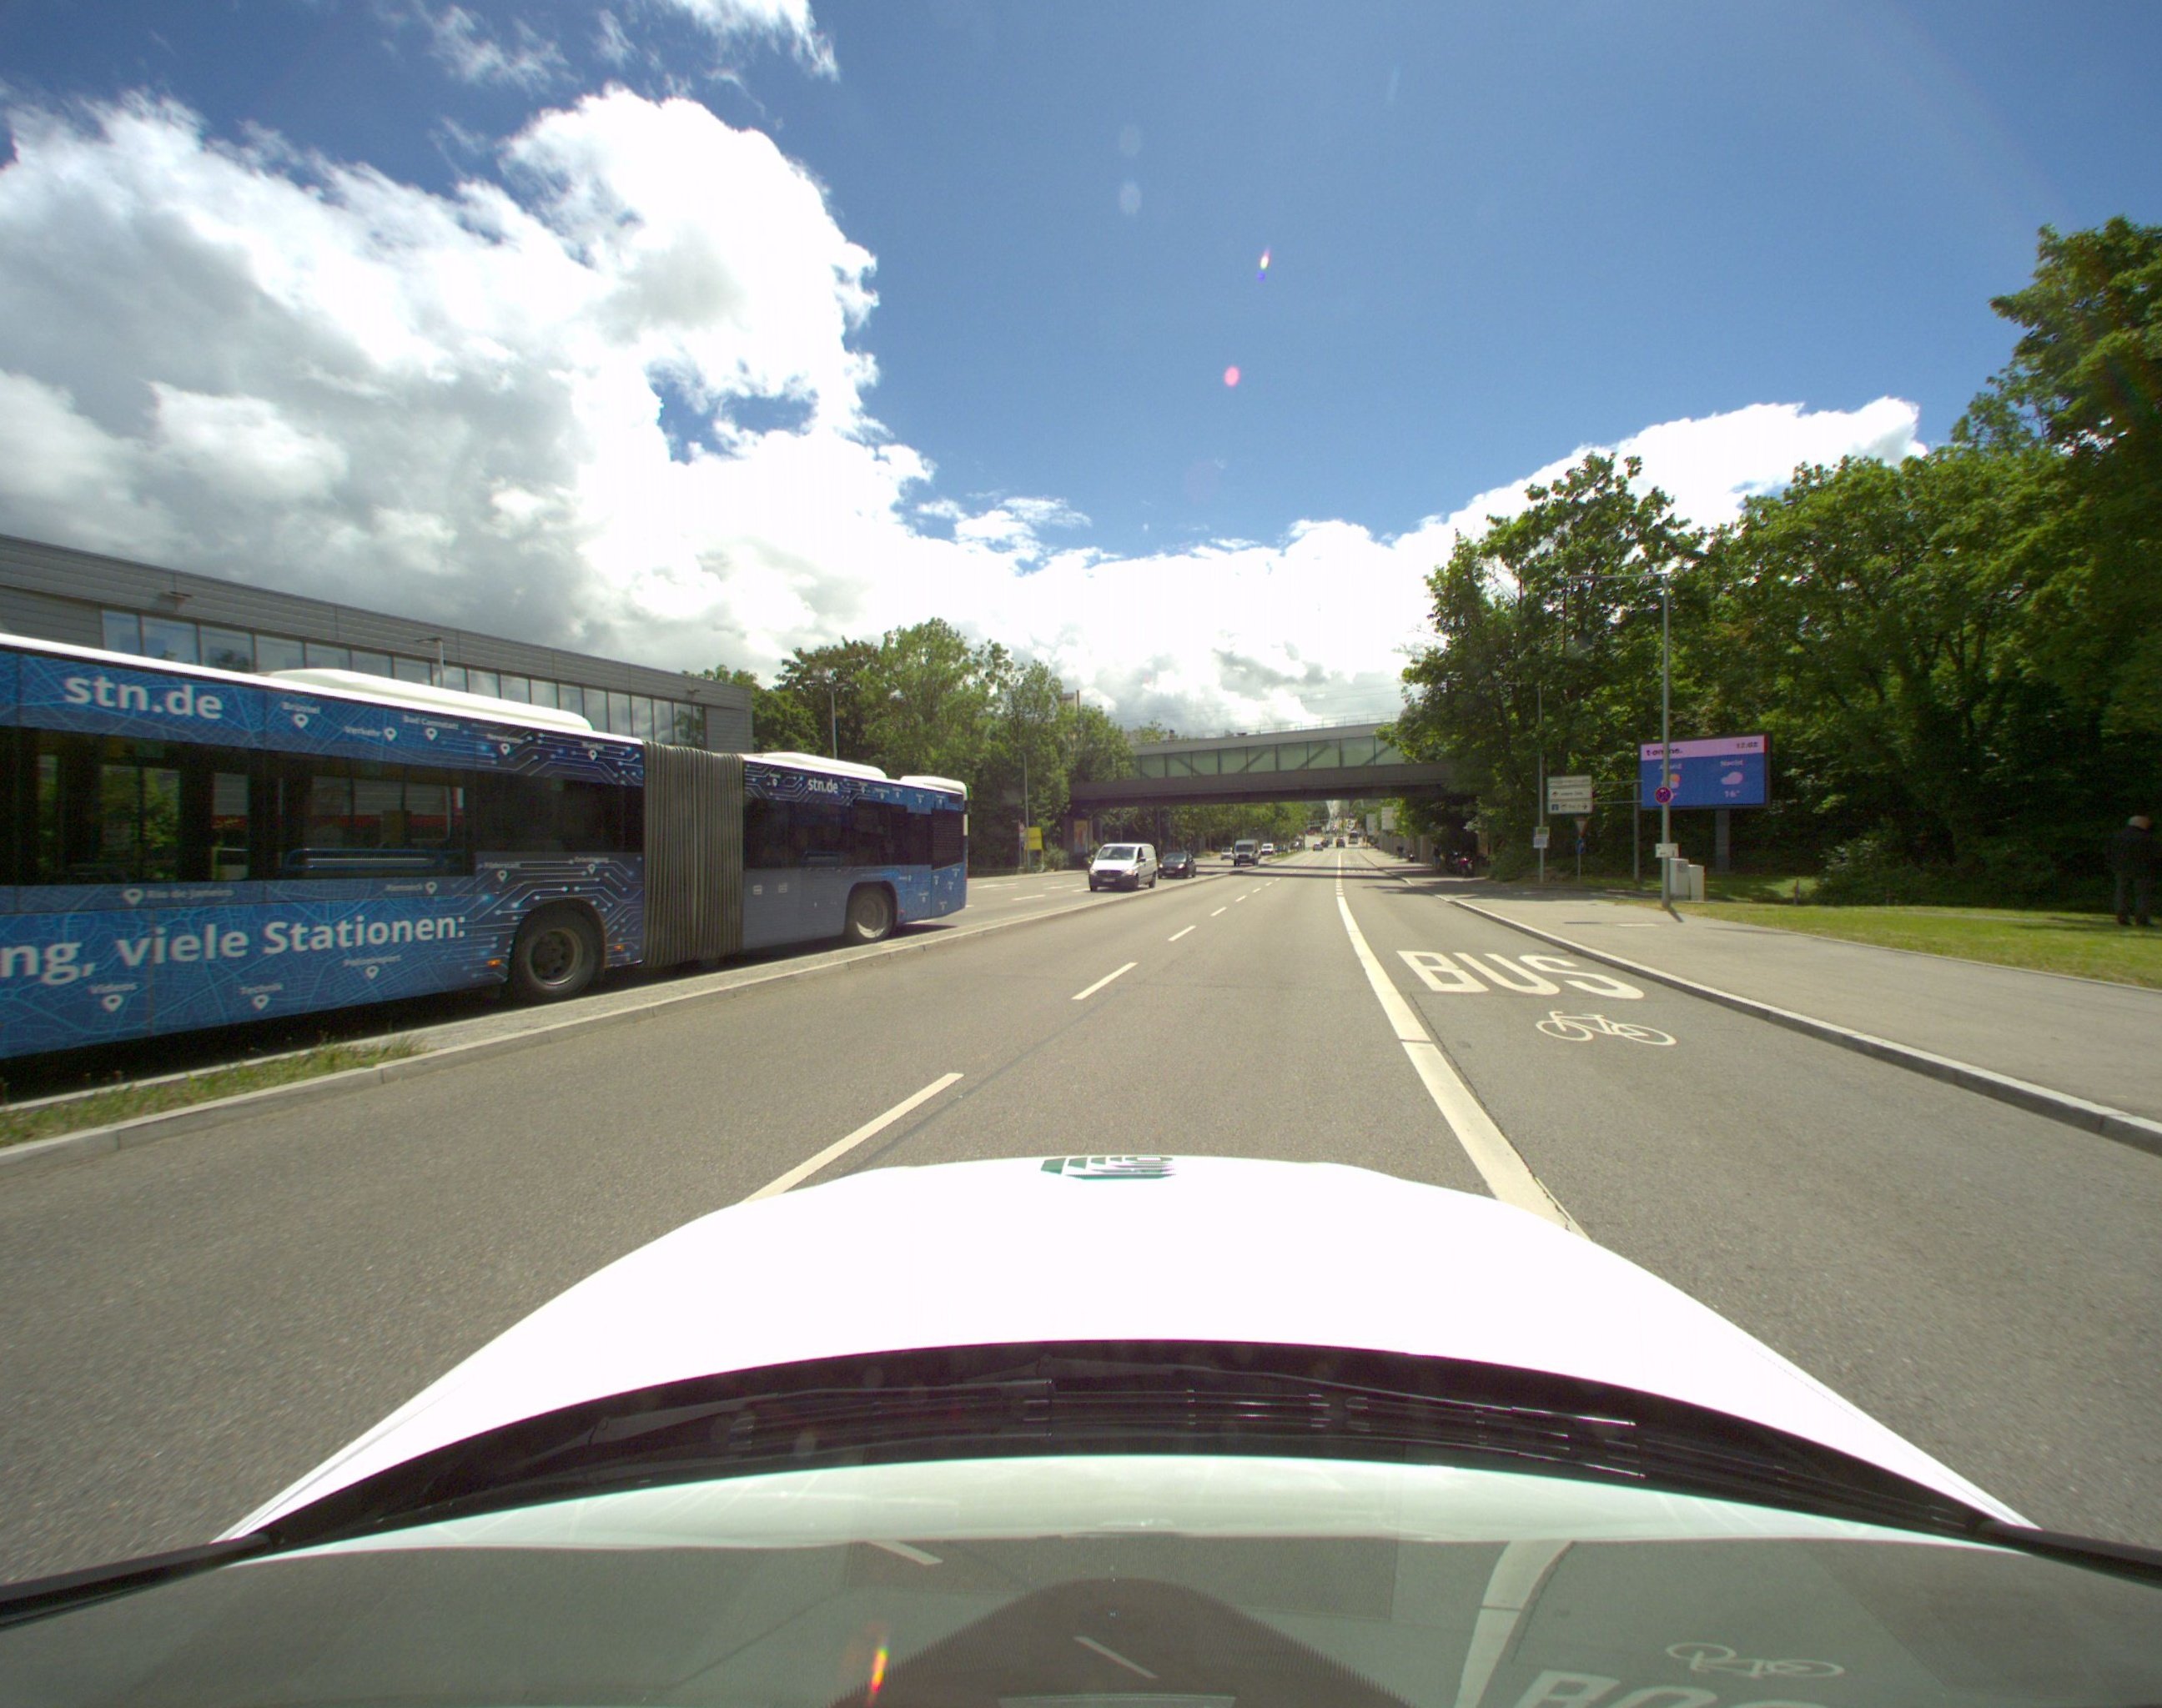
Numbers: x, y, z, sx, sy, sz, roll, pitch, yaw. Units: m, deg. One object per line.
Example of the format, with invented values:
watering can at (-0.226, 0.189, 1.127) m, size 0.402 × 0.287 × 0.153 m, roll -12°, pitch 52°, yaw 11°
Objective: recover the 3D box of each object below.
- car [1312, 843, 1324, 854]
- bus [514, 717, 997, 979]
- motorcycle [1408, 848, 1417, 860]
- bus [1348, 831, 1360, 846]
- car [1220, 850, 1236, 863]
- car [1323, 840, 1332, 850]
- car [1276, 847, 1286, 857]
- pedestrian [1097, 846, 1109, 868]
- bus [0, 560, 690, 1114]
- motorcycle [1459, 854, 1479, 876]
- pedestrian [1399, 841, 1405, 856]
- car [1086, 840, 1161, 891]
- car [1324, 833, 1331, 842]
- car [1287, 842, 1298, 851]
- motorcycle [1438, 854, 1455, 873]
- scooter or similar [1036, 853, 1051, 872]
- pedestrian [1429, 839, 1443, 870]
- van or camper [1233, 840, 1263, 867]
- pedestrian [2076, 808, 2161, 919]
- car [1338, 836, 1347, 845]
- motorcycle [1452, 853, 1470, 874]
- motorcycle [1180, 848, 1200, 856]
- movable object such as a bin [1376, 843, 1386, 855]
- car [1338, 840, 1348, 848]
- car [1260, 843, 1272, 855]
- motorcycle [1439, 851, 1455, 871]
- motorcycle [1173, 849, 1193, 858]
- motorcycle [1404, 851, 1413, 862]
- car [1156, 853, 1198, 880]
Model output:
car at (45.019, -1.093, 154.722) m, size 1.914 × 1.771 × 4.020 m, roll -1°, pitch 4°, yaw 18°
bus at (-4.660, -0.138, 14.487) m, size 2.793 × 3.163 × 8.950 m, roll 0°, pitch 1°, yaw 19°
motorcycle at (31.618, 0.010, 77.672) m, size 0.559 × 1.029 × 2.641 m, roll -2°, pitch 1°, yaw 17°
bus at (76.553, -4.341, 228.318) m, size 2.775 × 3.751 × 9.515 m, roll -1°, pitch 4°, yaw 17°
car at (18.416, 0.257, 101.909) m, size 1.688 × 1.551 × 3.940 m, roll 0°, pitch 0°, yaw 14°
car at (55.914, -2.071, 185.008) m, size 1.843 × 1.705 × 4.020 m, roll -1°, pitch 6°, yaw 16°
car at (36.445, -0.361, 148.393) m, size 1.688 × 1.698 × 3.941 m, roll 0°, pitch 0°, yaw 16°
pedestrian at (1.708, 0.203, 63.427) m, size 0.719 × 1.622 × 0.724 m, roll 4°, pitch 4°, yaw 16°
bus at (-7.674, -0.104, 5.430) m, size 2.793 × 3.285 × 10.168 m, roll 0°, pitch 0°, yaw 19°
motorcycle at (20.077, 0.552, 42.179) m, size 0.543 × 1.110 × 2.026 m, roll -1°, pitch 0°, yaw 15°
pedestrian at (36.421, -0.595, 92.411) m, size 0.616 × 1.618 × 0.750 m, roll -1°, pitch 4°, yaw 16°
car at (1.828, 0.400, 33.438) m, size 1.862 × 1.924 × 4.773 m, roll 0°, pitch 1°, yaw 18°
car at (67.176, -4.474, 222.087) m, size 1.859 × 2.013 × 3.711 m, roll -1°, pitch 4°, yaw 17°
car at (45.613, -1.669, 175.755) m, size 1.978 × 2.013 × 4.019 m, roll -1°, pitch 0°, yaw 18°
motorcycle at (21.312, 0.534, 47.464) m, size 0.543 × 1.110 × 2.026 m, roll -1°, pitch 0°, yaw 15°
scooter or similar at (-2.523, 0.575, 54.532) m, size 0.607 × 1.211 × 1.267 m, roll -1°, pitch 0°, yaw 17°
pedestrian at (21.873, 0.039, 50.186) m, size 0.618 × 1.858 × 0.876 m, roll -1°, pitch -1°, yaw 16°
van or camper at (15.902, -0.055, 77.477) m, size 1.992 × 2.401 × 6.429 m, roll -1°, pitch 0°, yaw 19°
pedestrian at (16.816, 0.129, 13.127) m, size 0.588 × 1.717 × 0.772 m, roll -3°, pitch 3°, yaw -10°
car at (66.021, -3.521, 205.792) m, size 1.977 × 2.013 × 4.022 m, roll 0°, pitch 4°, yaw 20°
motorcycle at (20.802, 0.522, 44.610) m, size 0.543 × 1.110 × 2.026 m, roll -1°, pitch 0°, yaw 15°
motorcycle at (14.894, -0.325, 111.188) m, size 2.553 × 1.107 × 0.799 m, roll 0°, pitch 0°, yaw 29°
movable object such as a bin at (54.651, -0.965, 148.345) m, size 1.650 × 2.132 × 1.285 m, roll 0°, pitch 0°, yaw 23°
car at (59.151, -2.314, 183.881) m, size 1.978 × 1.859 × 4.018 m, roll -1°, pitch 0°, yaw 17°
car at (27.752, -0.750, 122.295) m, size 1.688 × 1.698 × 3.940 m, roll 0°, pitch 0°, yaw 14°
motorcycle at (22.691, 0.418, 50.478) m, size 0.543 × 1.198 × 1.911 m, roll -1°, pitch 0°, yaw 15°
motorcycle at (13.562, -0.070, 108.379) m, size 2.553 × 1.107 × 0.799 m, roll 0°, pitch 0°, yaw 29°
motorcycle at (32.640, 0.231, 81.140) m, size 0.559 × 1.029 × 2.641 m, roll -2°, pitch 1°, yaw 17°
car at (5.493, 0.673, 46.187) m, size 1.624 × 1.471 × 3.794 m, roll 0°, pitch 1°, yaw 18°
